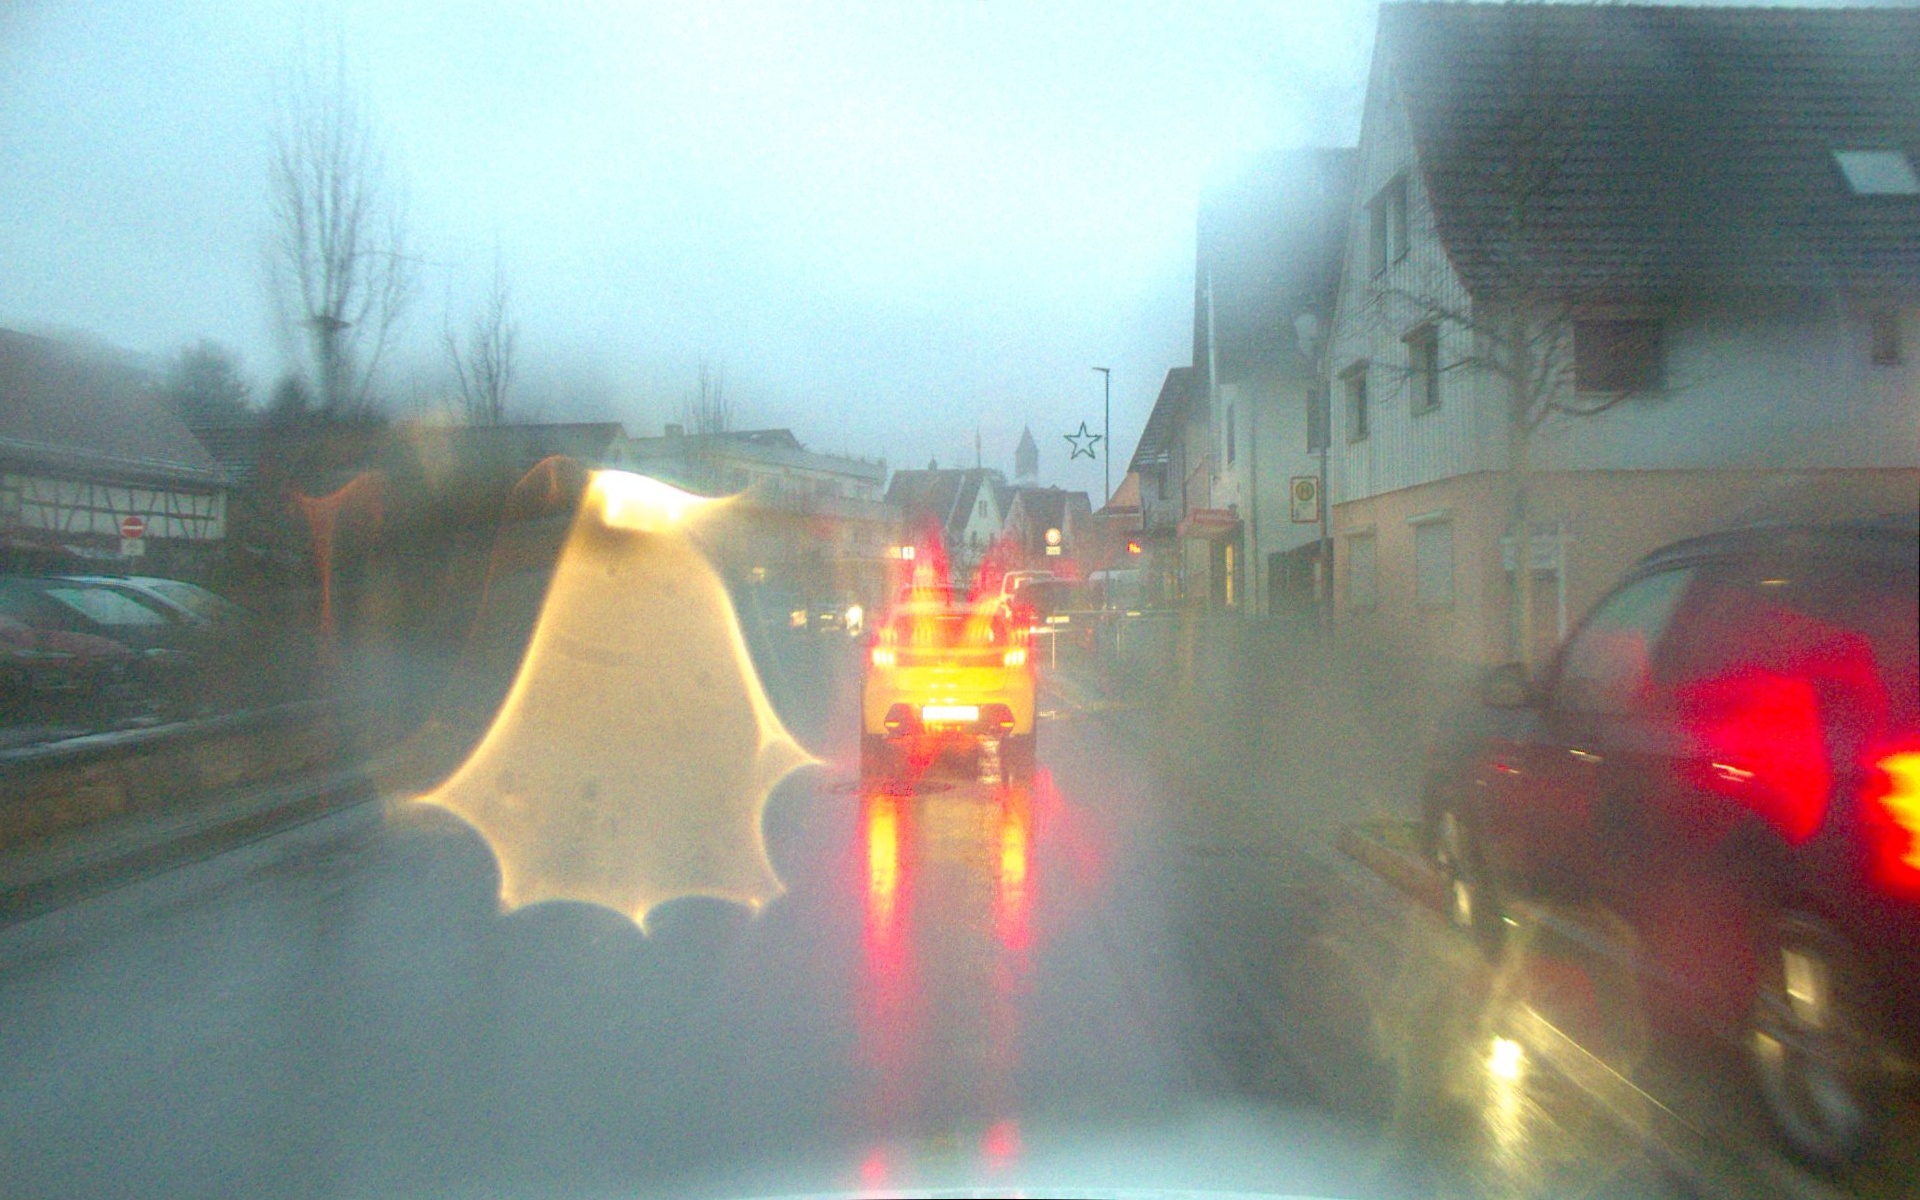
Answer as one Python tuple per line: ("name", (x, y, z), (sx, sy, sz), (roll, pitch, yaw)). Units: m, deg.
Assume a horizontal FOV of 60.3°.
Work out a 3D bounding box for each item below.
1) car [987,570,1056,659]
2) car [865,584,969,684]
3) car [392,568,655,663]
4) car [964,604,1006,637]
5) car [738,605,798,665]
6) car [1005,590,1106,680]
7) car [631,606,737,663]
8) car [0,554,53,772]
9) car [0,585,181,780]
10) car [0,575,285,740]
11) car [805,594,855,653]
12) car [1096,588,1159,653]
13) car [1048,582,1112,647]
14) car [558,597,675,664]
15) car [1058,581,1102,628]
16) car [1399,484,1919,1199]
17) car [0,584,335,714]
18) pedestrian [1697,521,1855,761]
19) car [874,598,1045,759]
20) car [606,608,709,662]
("car", (1.802, 0.498, 49.663), (1.832, 2.512, 4.442), (1, -2, 0))
("car", (-0.718, 0.576, 29.842), (1.730, 1.657, 3.586), (1, 0, 0))
("car", (-9.474, 0.329, 36.023), (5.281, 1.849, 1.713), (2, -1, 12))
("car", (1.312, 1.086, 85.073), (1.455, 1.553, 3.417), (1, -2, 12))
("car", (-6.920, 1.299, 59.820), (1.881, 2.063, 3.972), (1, -2, -3))
("car", (2.084, 0.764, 37.213), (1.957, 1.897, 4.082), (1, -1, -1))
("car", (-11.121, 1.407, 66.565), (4.309, 2.204, 1.987), (-1, -3, 43))
("car", (-9.719, 0.468, 12.526), (4.534, 1.697, 1.998), (1, -1, -4))
("car", (-9.661, 0.704, 15.291), (4.110, 1.681, 1.680), (1, -1, 3))
("car", (-9.657, 0.585, 17.819), (4.080, 1.673, 1.659), (0, -1, 3))
("car", (-5.288, 0.990, 67.679), (1.881, 2.254, 3.972), (1, -2, -3))
("car", (6.279, 0.826, 62.241), (1.953, 2.288, 3.999), (1, -2, 0))
("car", (4.054, 0.538, 56.629), (1.832, 2.034, 4.442), (1, -2, 0))
("car", (-12.423, 1.127, 59.725), (4.309, 2.291, 1.987), (-1, -3, 43))
("car", (5.341, 0.231, 73.002), (1.831, 1.867, 4.445), (1, -2, 5))
("car", (2.930, 0.605, 5.347), (1.700, 1.722, 4.384), (0, 0, -2))
("car", (-9.811, 0.590, 20.425), (3.470, 1.472, 1.710), (1, -1, 3))
("pedestrian", (5.443, 0.254, 11.060), (0.608, 1.542, 0.731), (0, 1, -15))
("car", (-0.037, 0.719, 16.598), (1.531, 1.437, 3.017), (1, 0, -2))
("car", (-11.651, 1.355, 63.578), (4.096, 2.011, 1.811), (-1, -3, 43))
